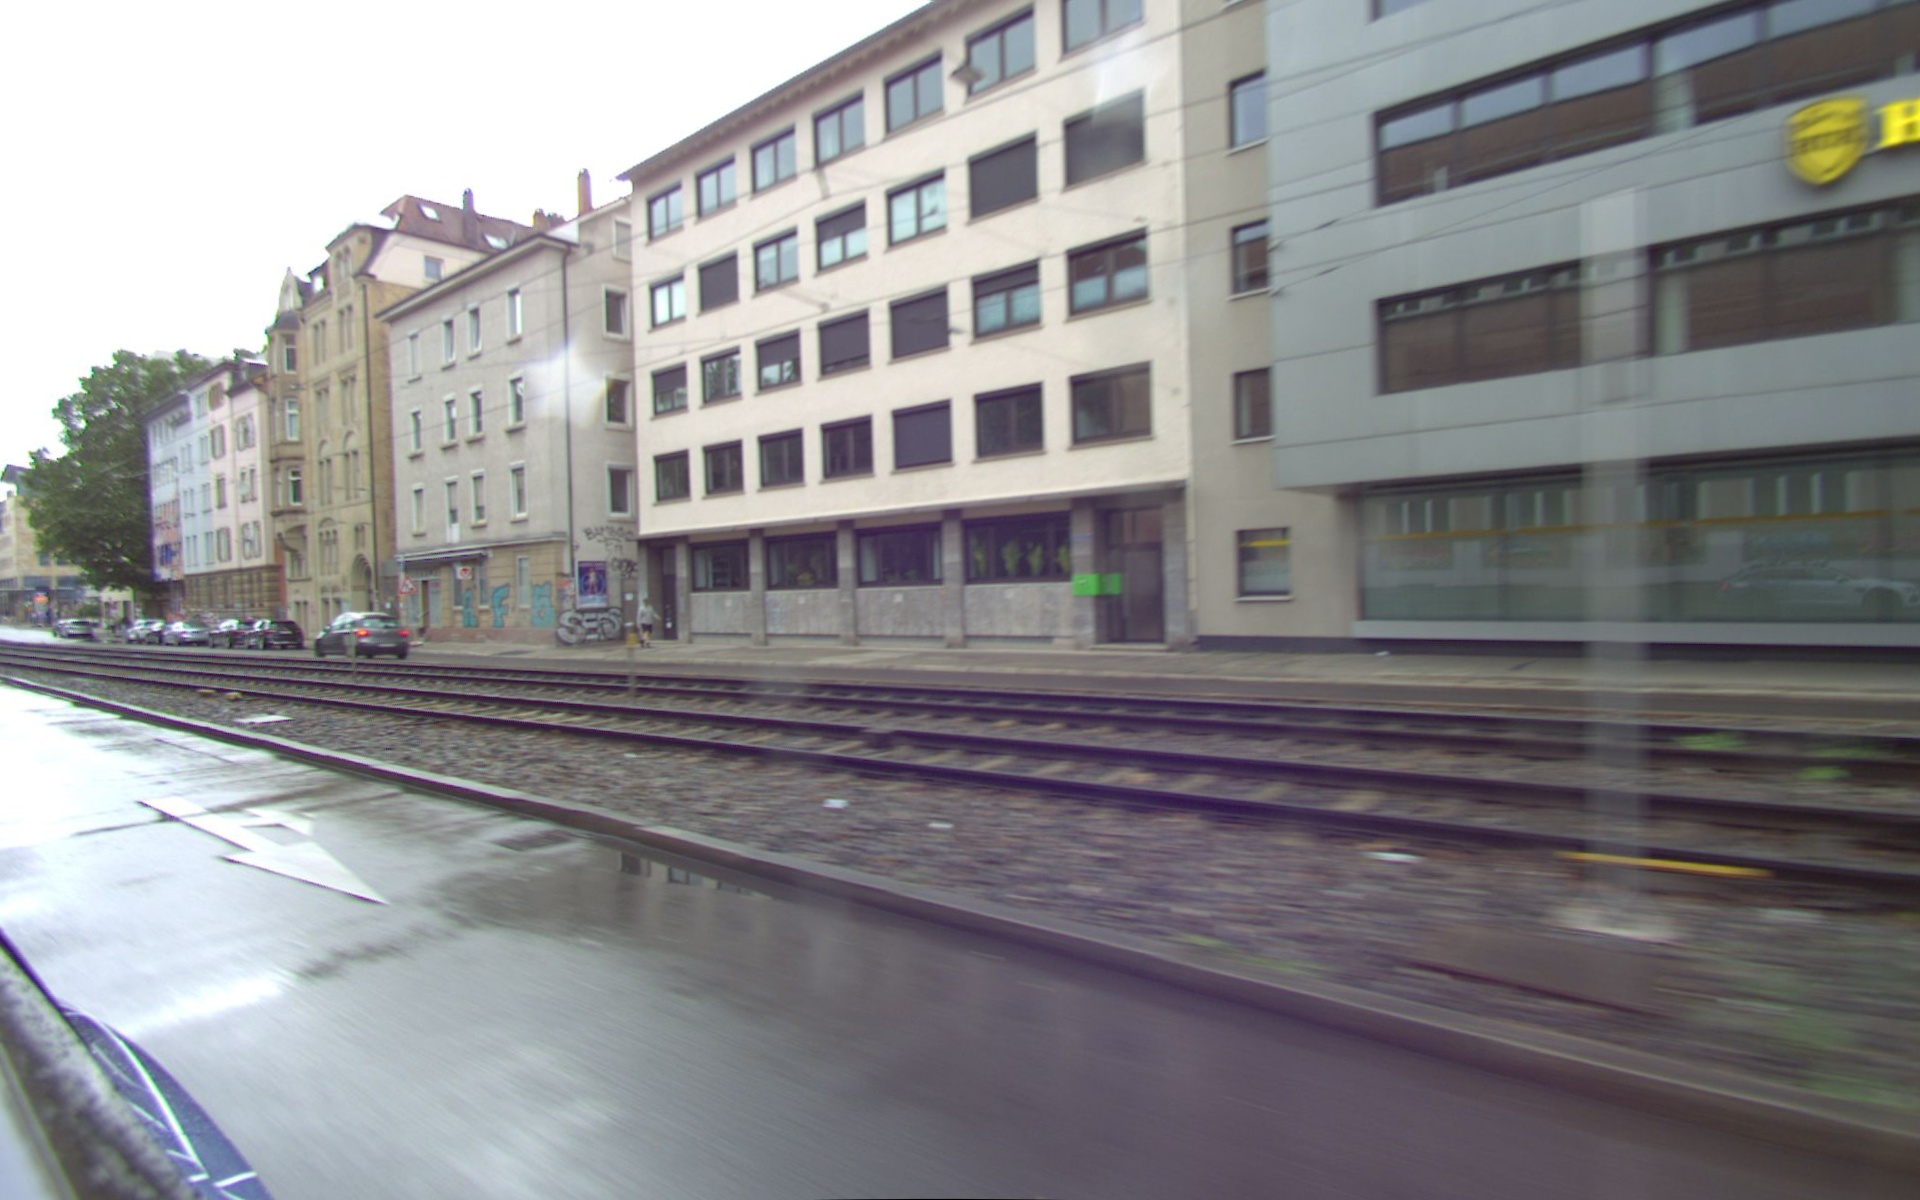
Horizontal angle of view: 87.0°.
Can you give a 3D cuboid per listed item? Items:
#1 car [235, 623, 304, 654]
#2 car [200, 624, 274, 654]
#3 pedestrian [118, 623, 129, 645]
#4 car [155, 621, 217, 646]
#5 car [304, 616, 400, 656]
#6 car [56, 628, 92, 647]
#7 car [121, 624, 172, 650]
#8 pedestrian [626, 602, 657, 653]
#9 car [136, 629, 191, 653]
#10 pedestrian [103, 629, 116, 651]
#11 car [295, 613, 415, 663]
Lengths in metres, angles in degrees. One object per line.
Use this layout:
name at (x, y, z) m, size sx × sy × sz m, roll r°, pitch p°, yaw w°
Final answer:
car at (-33.421, 1.867, 48.965) m, size 4.167 × 1.467 × 1.718 m, roll -2°, pitch -3°, yaw 41°
car at (-37.607, 2.027, 52.570) m, size 5.018 × 1.467 × 1.973 m, roll -2°, pitch -3°, yaw 41°
pedestrian at (-72.150, 2.937, 87.254) m, size 0.536 × 1.883 × 0.642 m, roll -3°, pitch -1°, yaw 44°
car at (-45.632, 1.999, 59.617) m, size 5.020 × 1.408 × 1.972 m, roll -2°, pitch -3°, yaw 42°
car at (-25.061, 1.481, 41.683) m, size 4.746 × 1.548 × 1.973 m, roll -2°, pitch -3°, yaw 41°
car at (-75.222, 3.166, 85.941) m, size 4.227 × 1.553 × 1.818 m, roll -2°, pitch -2°, yaw 42°
car at (-53.866, 2.434, 66.975) m, size 4.224 × 1.617 × 1.820 m, roll -2°, pitch -2°, yaw 40°
pedestrian at (-10.439, 0.904, 33.176) m, size 0.799 × 1.624 × 0.541 m, roll -2°, pitch 3°, yaw 43°
car at (-49.592, 2.547, 62.979) m, size 4.262 × 1.408 × 1.820 m, roll -2°, pitch -2°, yaw 40°
pedestrian at (-72.664, 3.407, 86.459) m, size 0.536 × 1.883 × 0.798 m, roll -3°, pitch -1°, yaw 44°
car at (-19.971, 1.254, 33.359) m, size 4.342 × 1.548 × 1.921 m, roll -2°, pitch -3°, yaw 38°
